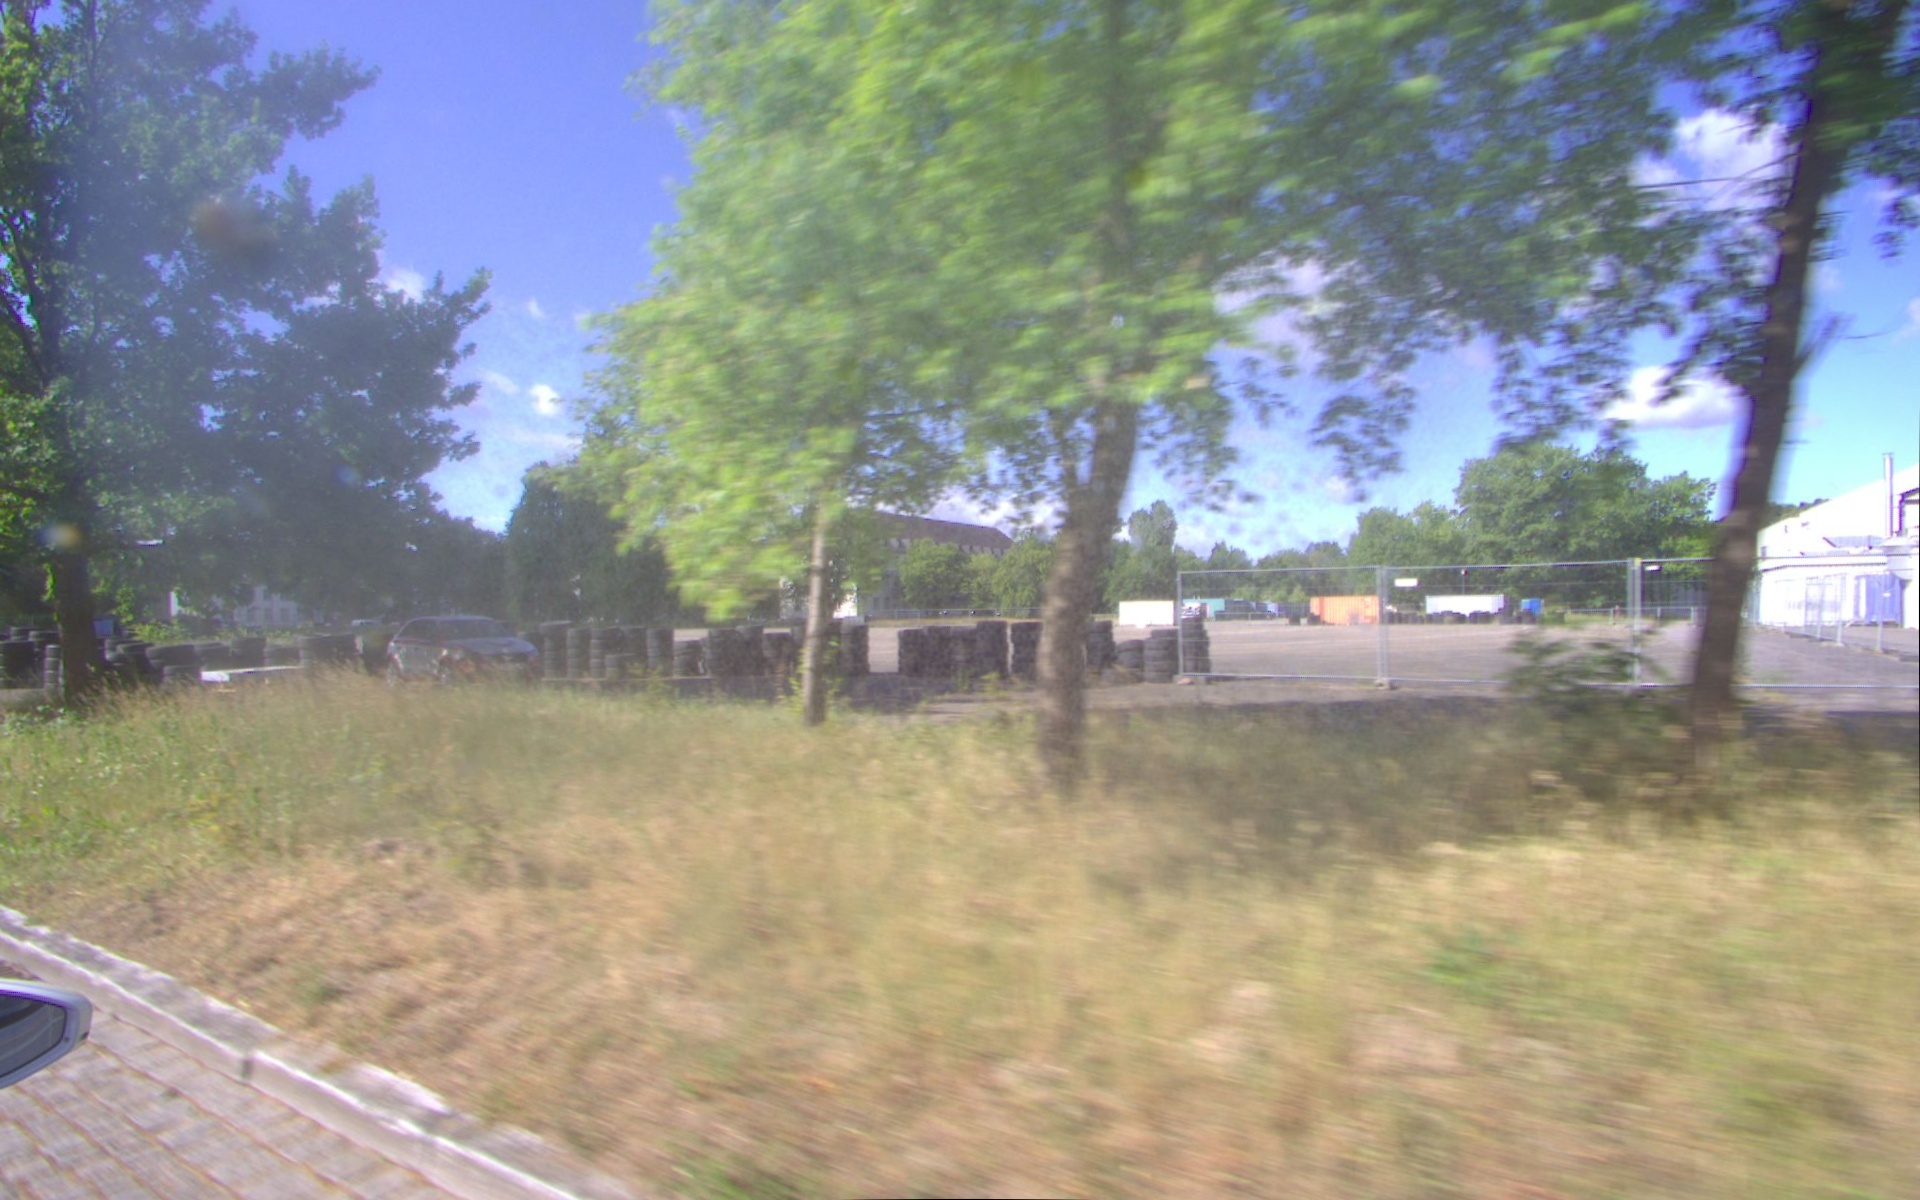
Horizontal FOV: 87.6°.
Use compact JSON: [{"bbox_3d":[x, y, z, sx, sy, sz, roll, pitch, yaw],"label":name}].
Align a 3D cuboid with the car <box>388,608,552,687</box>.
[{"bbox_3d":[-9.719,0.902,19.767,3.533,1.425,1.535,-1,-1,38],"label":"car"}]
